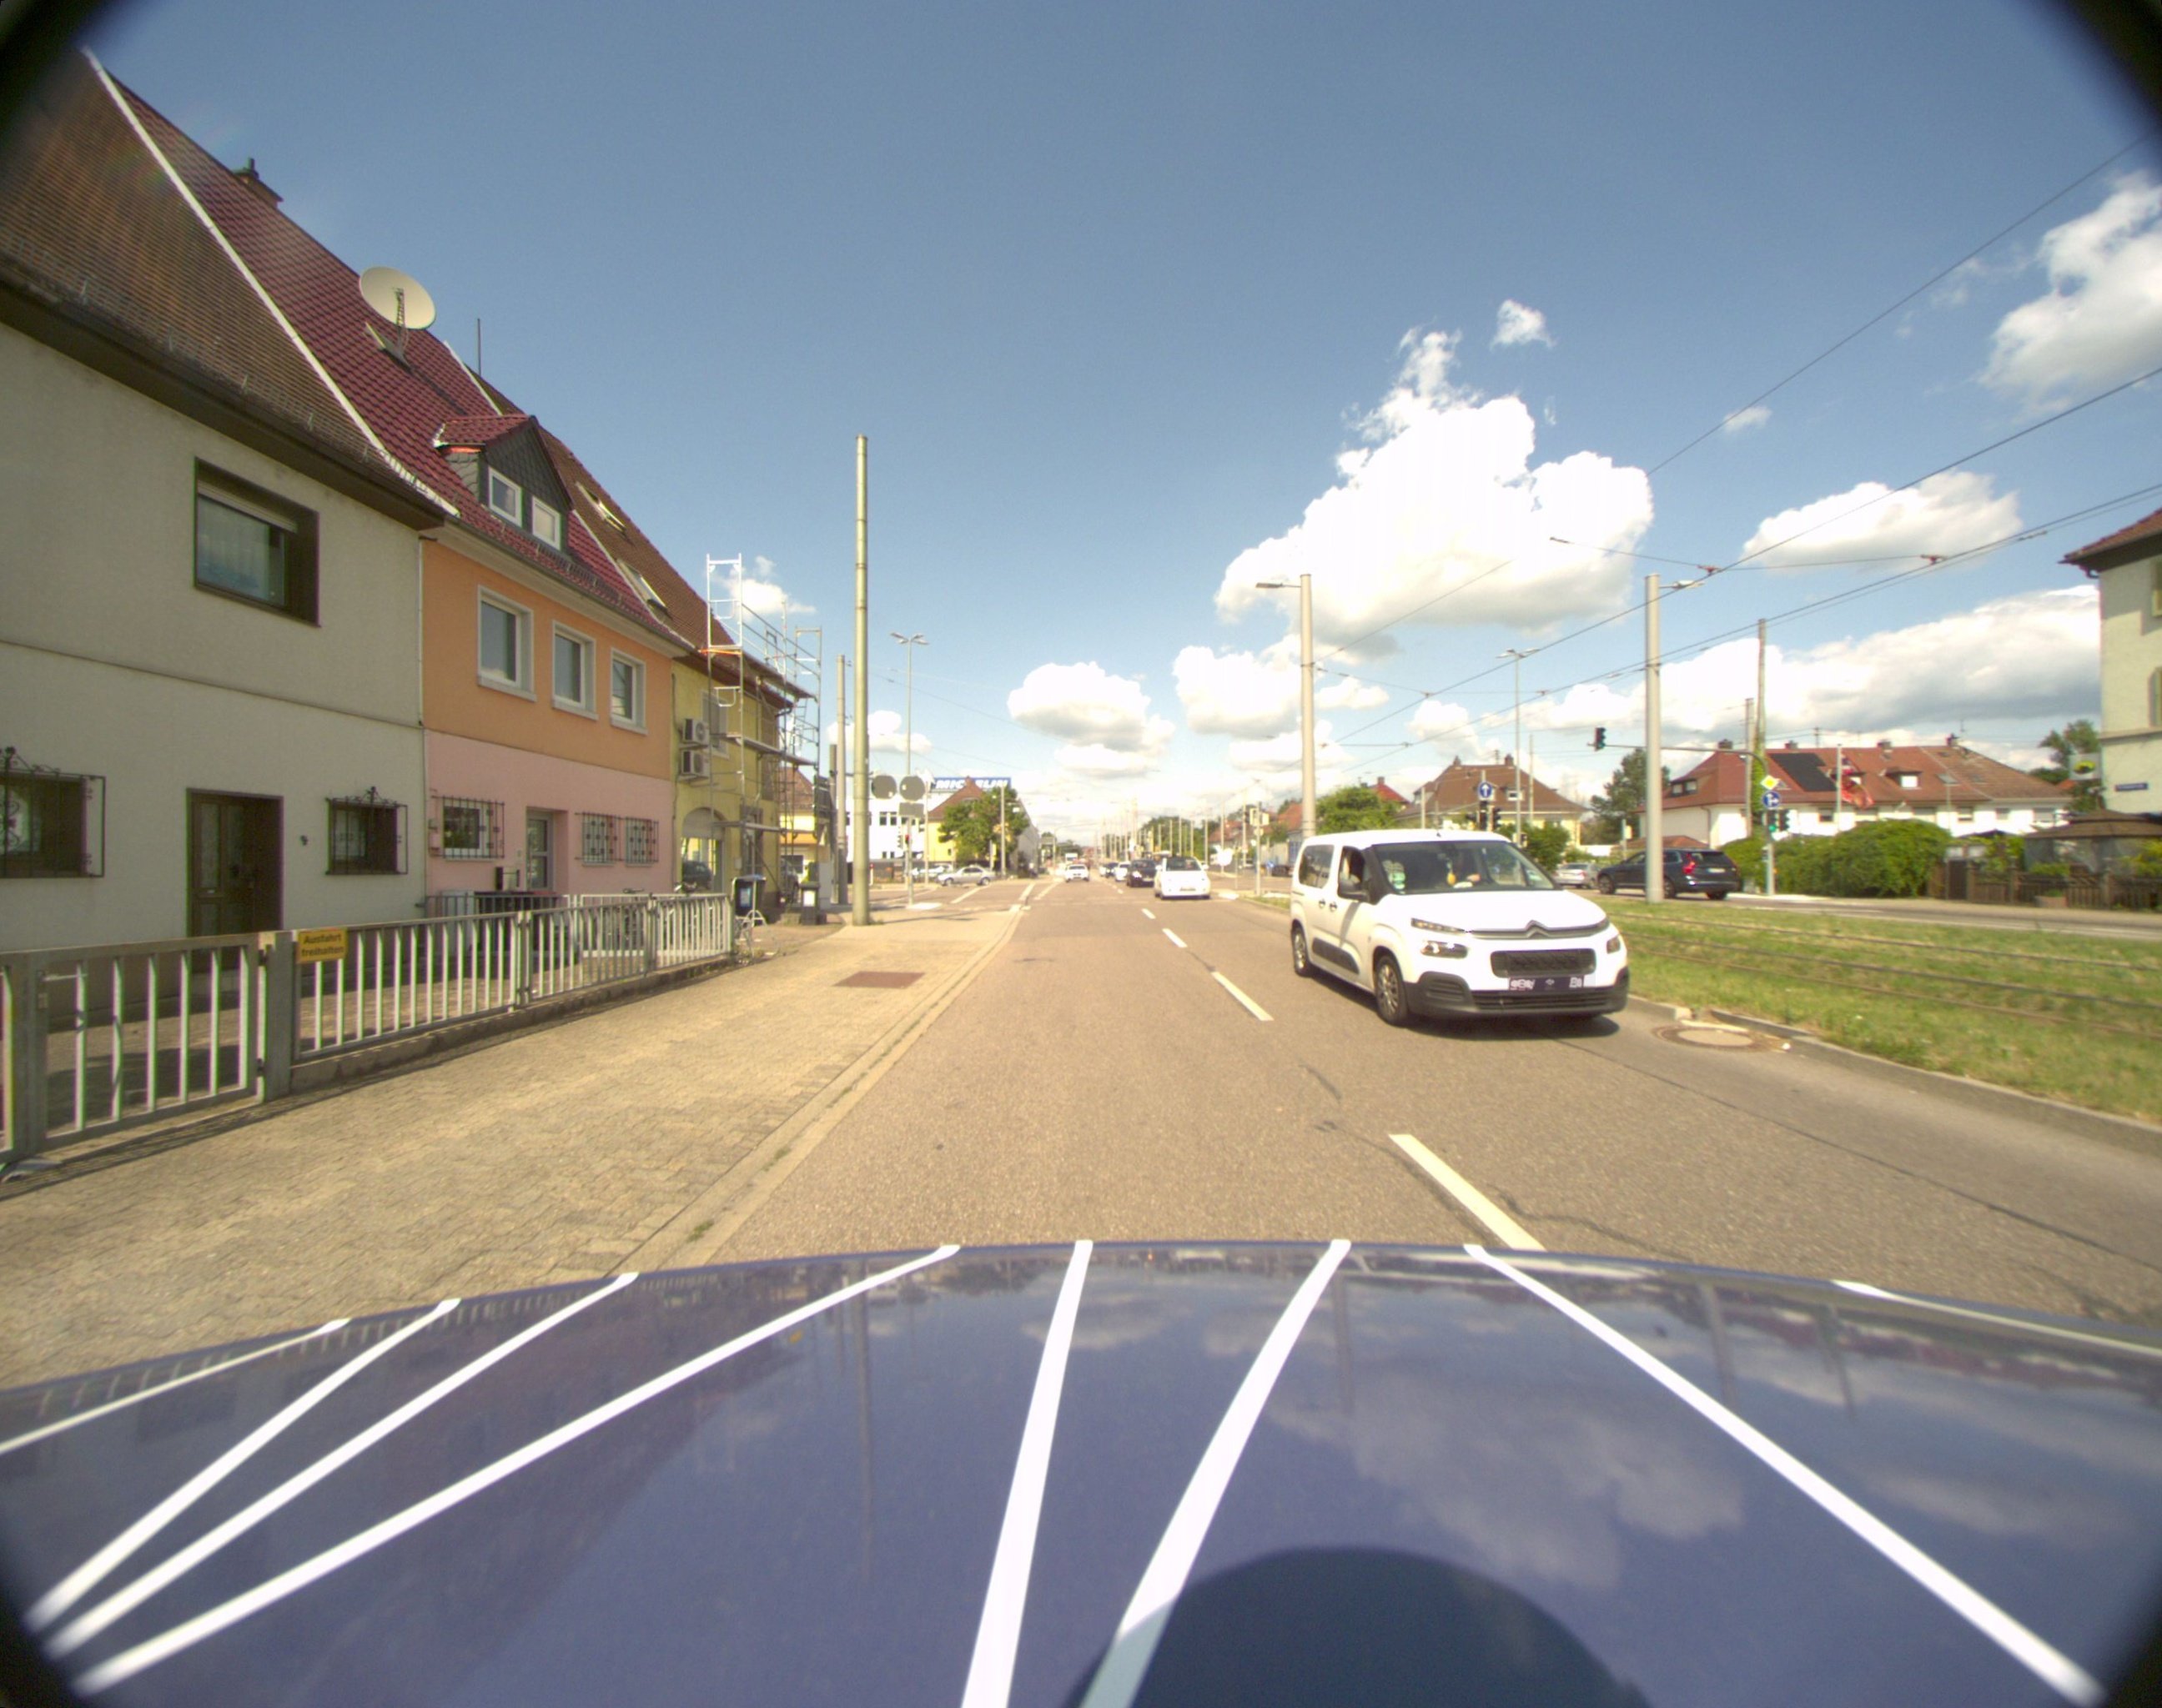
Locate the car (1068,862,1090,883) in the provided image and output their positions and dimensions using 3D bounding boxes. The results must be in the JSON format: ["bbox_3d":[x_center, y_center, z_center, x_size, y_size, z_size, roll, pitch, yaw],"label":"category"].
[{"bbox_3d":[-0.189,1.451,62.014,1.664,1.564,3.999,-2,0,-1],"label":"car"}]

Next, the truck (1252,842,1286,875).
[{"bbox_3d":[22.495,0.610,91.103,2.605,3.798,5.668,2,-1,1],"label":"truck"}]

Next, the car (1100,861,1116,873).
[{"bbox_3d":[3.234,1.562,91.893,1.698,1.350,4.498,-2,0,-1],"label":"car"}]

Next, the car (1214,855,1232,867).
[{"bbox_3d":[19.498,0.935,104.239,1.799,1.627,4.471,0,0,2],"label":"car"}]

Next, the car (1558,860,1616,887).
[{"bbox_3d":[27.554,1.009,41.348,1.795,1.379,4.481,1,0,45],"label":"car"}]

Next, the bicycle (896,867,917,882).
[{"bbox_3d":[-14.171,1.664,61.797,1.576,1.131,0.380,-2,1,-28],"label":"bicycle"}]

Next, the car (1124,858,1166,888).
[{"bbox_3d":[3.326,0.974,39.973,1.680,1.413,3.557,-2,0,-3],"label":"car"}]

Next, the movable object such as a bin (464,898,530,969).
[{"bbox_3d":[-8.136,1.094,10.602,0.469,0.941,0.558,0,1,0],"label":"movable object such as a bin"}]

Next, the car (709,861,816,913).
[{"bbox_3d":[-11.295,1.117,27.259,1.998,1.586,4.131,-2,0,0],"label":"car"}]

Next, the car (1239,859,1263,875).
[{"bbox_3d":[19.895,1.464,89.052,1.799,1.804,4.712,0,0,0],"label":"car"}]

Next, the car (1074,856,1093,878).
[{"bbox_3d":[0.199,1.283,79.553,1.787,2.134,5.168,-2,0,-1],"label":"car"}]

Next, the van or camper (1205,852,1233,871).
[{"bbox_3d":[21.729,1.111,119.772,2.331,2.912,7.750,-1,0,-5],"label":"van or camper"}]

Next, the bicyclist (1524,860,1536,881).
[{"bbox_3d":[32.401,1.197,54.800,0.501,1.489,0.602,-2,1,2],"label":"bicyclist"}]

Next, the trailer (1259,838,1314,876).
[{"bbox_3d":[22.384,0.455,83.546,2.605,3.798,12.838,2,-1,1],"label":"trailer"}]

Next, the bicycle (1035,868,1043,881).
[{"bbox_3d":[-3.928,1.890,70.999,0.652,1.111,1.587,-2,0,-6],"label":"bicycle"}]

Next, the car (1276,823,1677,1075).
[{"bbox_3d":[3.479,0.697,7.774,1.799,1.804,4.329,-2,0,0],"label":"car"}]

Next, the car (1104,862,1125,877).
[{"bbox_3d":[3.343,1.530,76.753,1.698,1.350,4.498,-2,0,-1],"label":"car"}]

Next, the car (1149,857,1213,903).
[{"bbox_3d":[3.546,0.900,27.545,1.680,1.495,3.393,-2,0,-3],"label":"car"}]

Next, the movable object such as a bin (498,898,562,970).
[{"bbox_3d":[-7.675,1.103,10.593,0.469,0.941,0.558,0,1,0],"label":"movable object such as a bin"}]

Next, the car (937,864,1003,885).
[{"bbox_3d":[-8.203,1.484,56.030,4.468,1.389,1.723,-1,-1,-23],"label":"car"}]

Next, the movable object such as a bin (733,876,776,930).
[{"bbox_3d":[-7.024,1.037,16.364,0.512,1.099,0.855,-1,1,1],"label":"movable object such as a bin"}]

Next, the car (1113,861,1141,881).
[{"bbox_3d":[3.351,1.240,56.185,1.698,1.350,4.498,-2,0,-1],"label":"car"}]

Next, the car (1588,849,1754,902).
[{"bbox_3d":[20.716,0.678,27.030,2.020,1.701,4.936,0,0,-1],"label":"car"}]

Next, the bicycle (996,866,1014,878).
[{"bbox_3d":[-6.828,1.650,68.272,0.462,1.012,1.759,-1,1,40],"label":"bicycle"}]

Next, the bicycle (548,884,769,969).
[{"bbox_3d":[-5.931,1.004,10.752,2.733,1.113,0.691,1,1,0],"label":"bicycle"}]

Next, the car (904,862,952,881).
[{"bbox_3d":[-13.927,1.572,69.383,4.118,1.587,1.800,-1,-1,-6],"label":"car"}]

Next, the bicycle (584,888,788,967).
[{"bbox_3d":[-5.915,1.090,11.487,2.668,1.099,0.786,1,1,0],"label":"bicycle"}]

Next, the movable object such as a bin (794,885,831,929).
[{"bbox_3d":[-5.808,1.138,16.463,0.512,0.913,0.741,-1,1,1],"label":"movable object such as a bin"}]

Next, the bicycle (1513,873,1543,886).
[{"bbox_3d":[32.245,1.855,54.827,1.808,0.830,0.602,-2,1,2],"label":"bicycle"}]
